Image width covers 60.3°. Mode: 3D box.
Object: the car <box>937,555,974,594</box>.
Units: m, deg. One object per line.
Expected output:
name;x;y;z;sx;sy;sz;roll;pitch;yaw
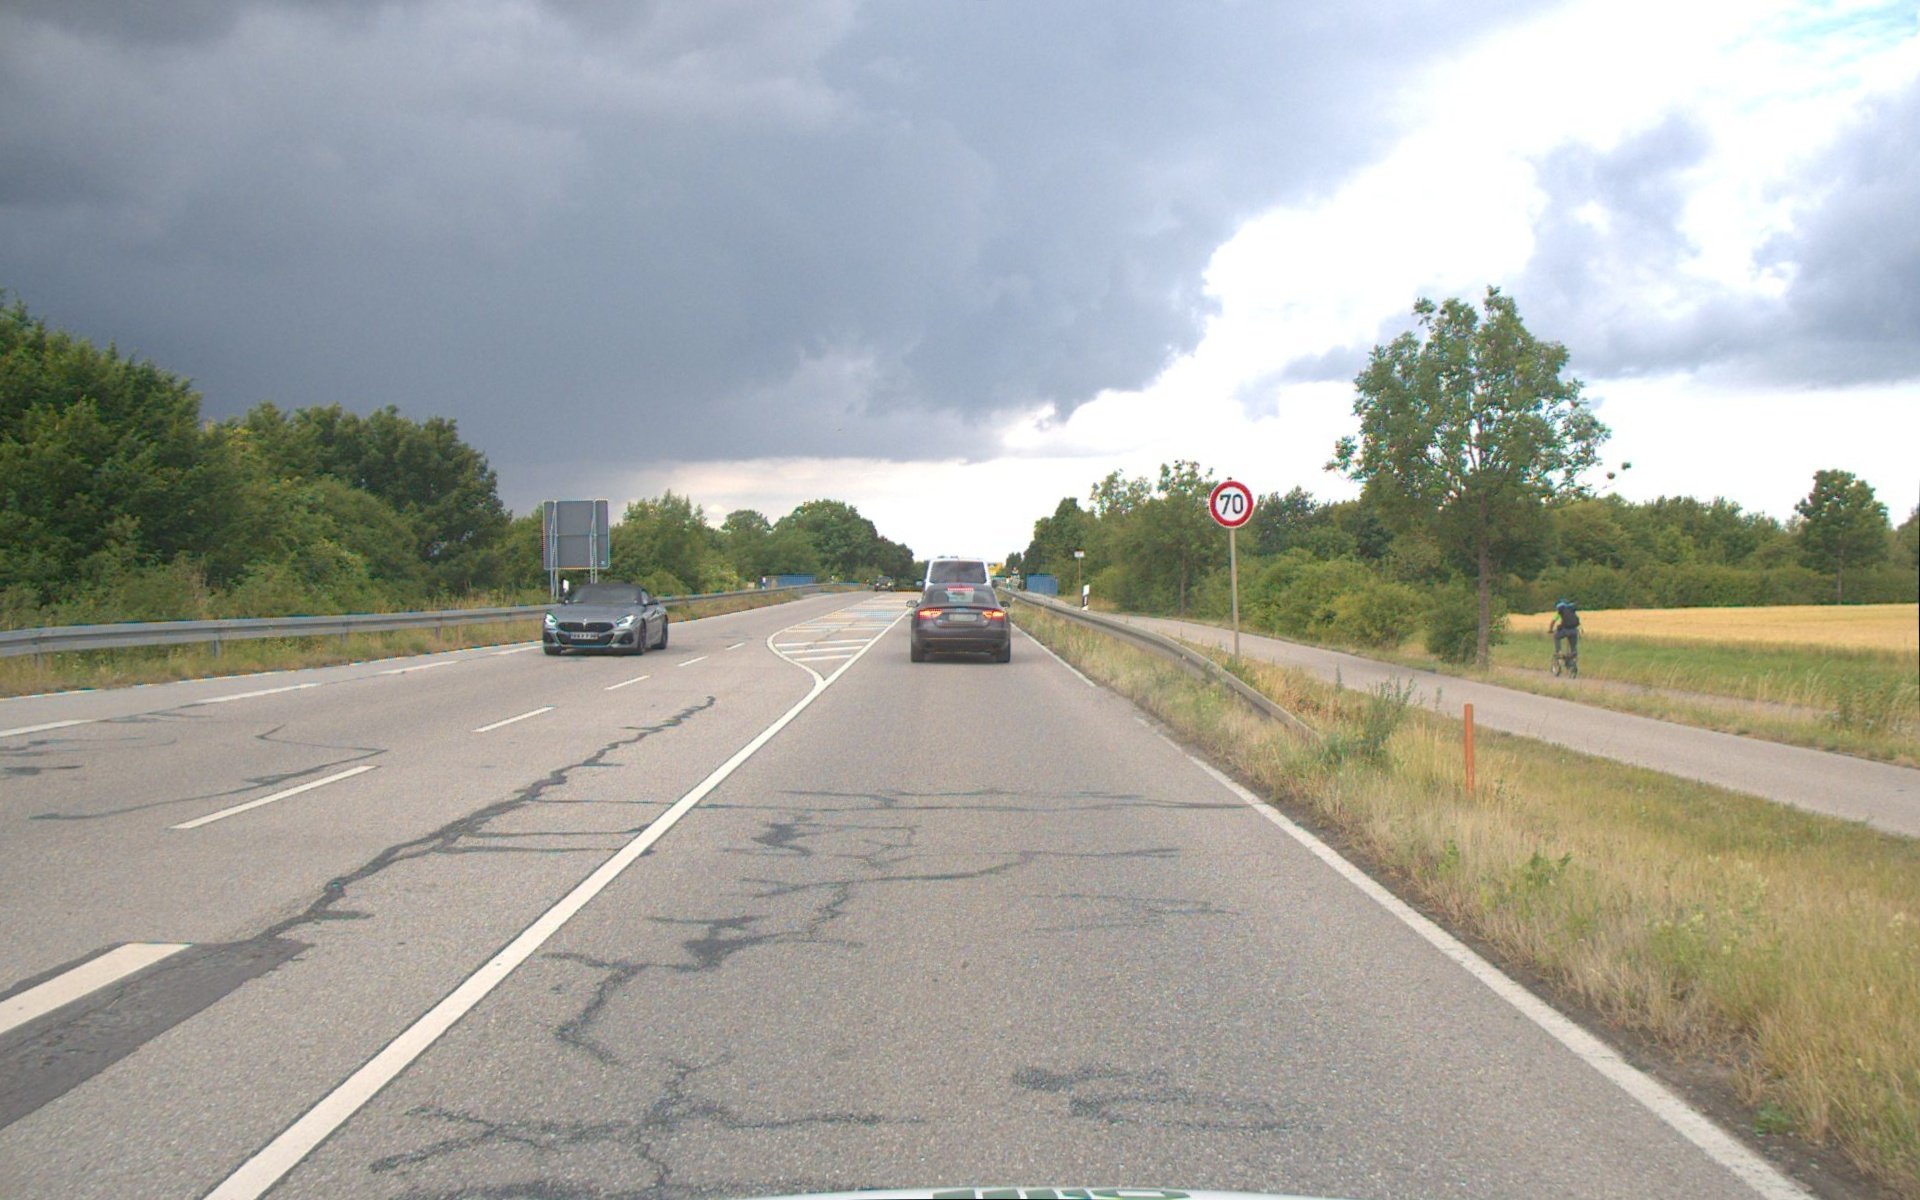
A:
car;-0.283;-1.741;111.740;2.397;2.548;5.041;1;1;0

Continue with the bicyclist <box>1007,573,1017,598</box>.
bicyclist;3.542;-1.011;112.635;0.634;1.674;0.866;0;0;-1

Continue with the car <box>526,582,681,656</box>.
car;-6.790;0.316;31.949;2.120;1.307;4.236;1;1;-1

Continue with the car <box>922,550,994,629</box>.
car;-0.065;-0.267;43.021;1.749;1.922;4.000;1;0;-1

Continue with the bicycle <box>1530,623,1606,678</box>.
bicycle;13.780;1.118;37.566;0.642;1.158;2.830;1;0;-1

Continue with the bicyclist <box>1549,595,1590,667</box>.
bicyclist;13.794;0.703;37.460;0.642;1.608;0.744;1;0;-1

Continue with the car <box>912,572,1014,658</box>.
car;0.038;0.247;30.552;1.749;1.448;4.000;1;0;-1

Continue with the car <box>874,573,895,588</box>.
car;-7.324;-1.915;160.745;1.824;1.400;4.000;2;1;-1
